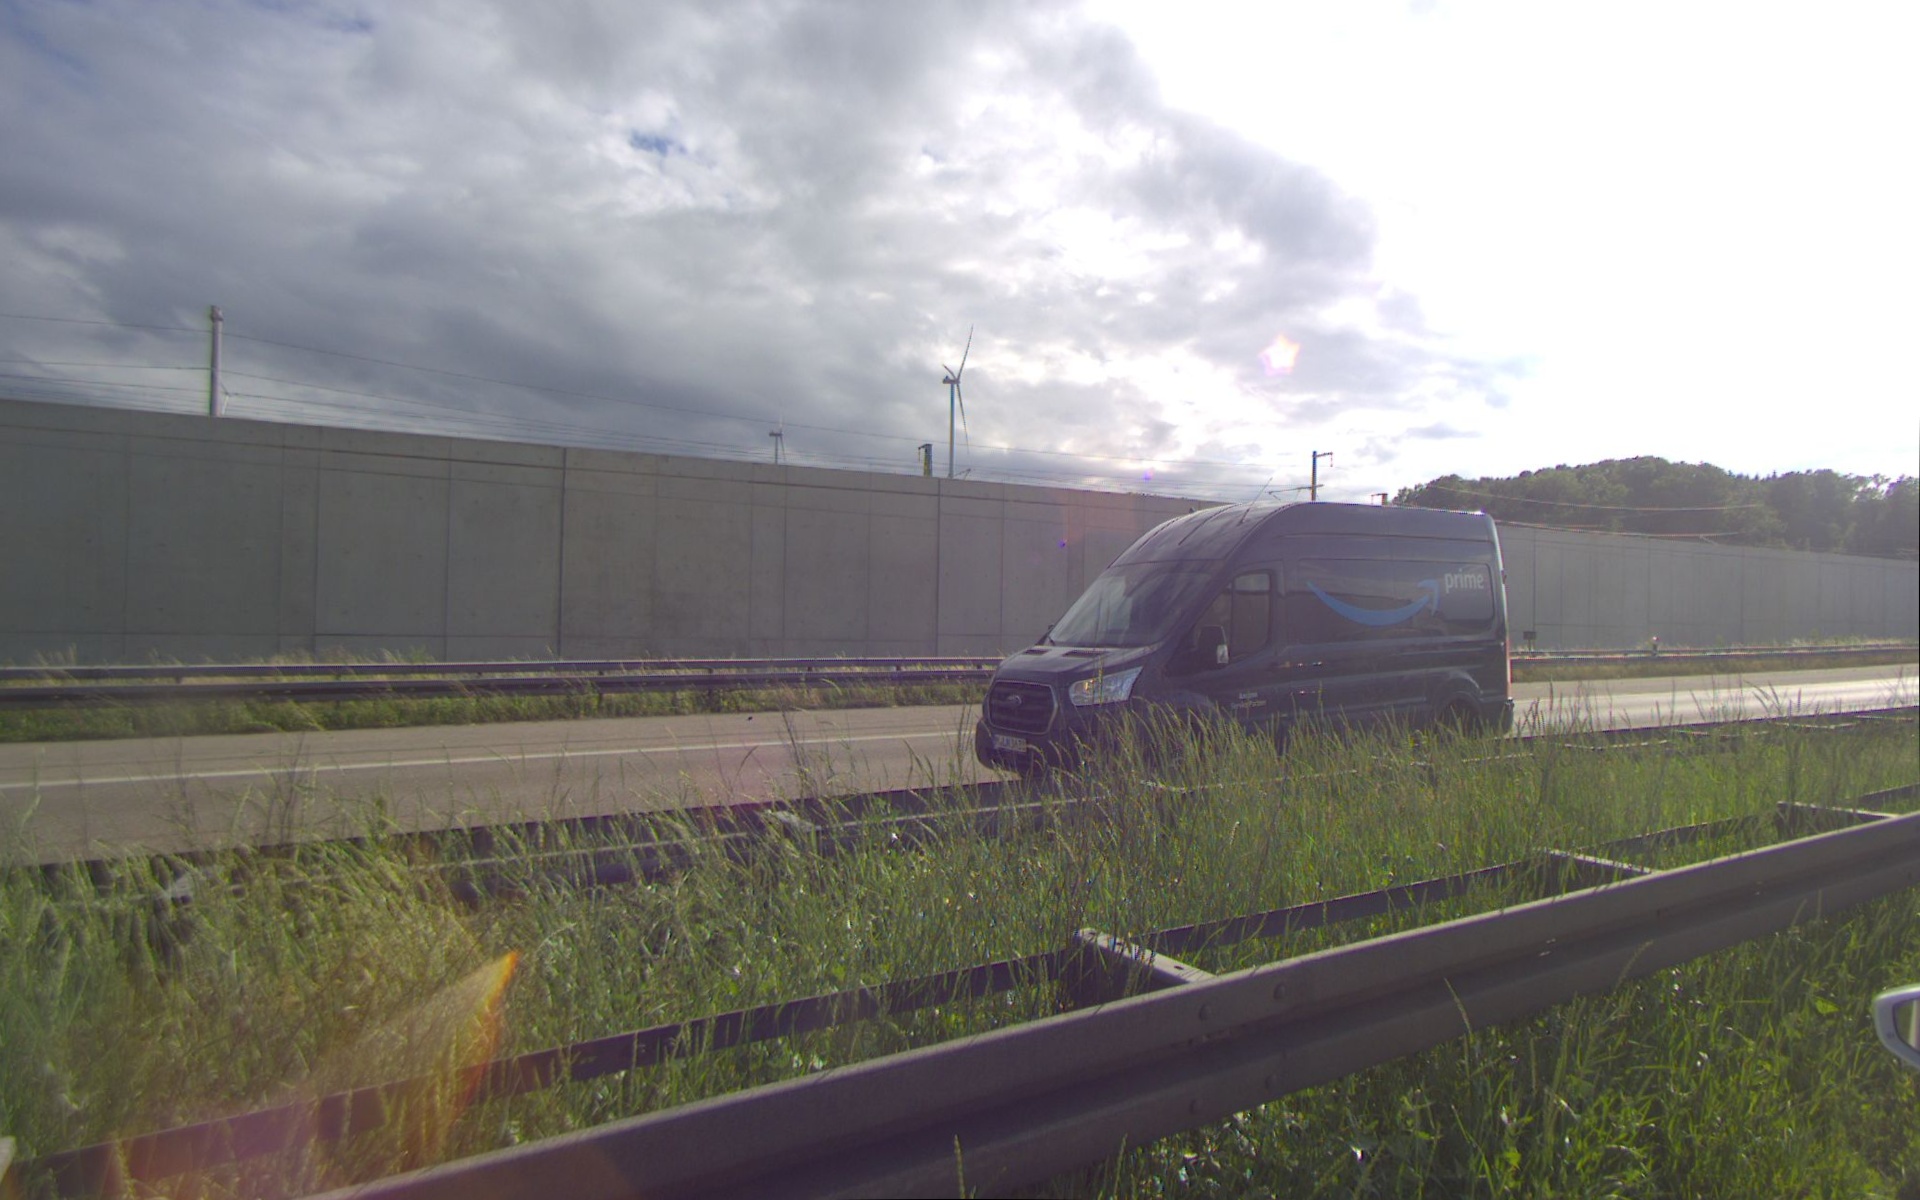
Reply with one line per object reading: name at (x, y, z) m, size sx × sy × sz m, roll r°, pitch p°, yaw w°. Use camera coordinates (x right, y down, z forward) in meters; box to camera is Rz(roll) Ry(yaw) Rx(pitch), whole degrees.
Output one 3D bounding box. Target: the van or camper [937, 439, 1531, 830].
van or camper at (2.845, 0.344, 9.752) m, size 5.829 × 2.857 × 2.079 m, roll 2°, pitch 0°, yaw -31°
